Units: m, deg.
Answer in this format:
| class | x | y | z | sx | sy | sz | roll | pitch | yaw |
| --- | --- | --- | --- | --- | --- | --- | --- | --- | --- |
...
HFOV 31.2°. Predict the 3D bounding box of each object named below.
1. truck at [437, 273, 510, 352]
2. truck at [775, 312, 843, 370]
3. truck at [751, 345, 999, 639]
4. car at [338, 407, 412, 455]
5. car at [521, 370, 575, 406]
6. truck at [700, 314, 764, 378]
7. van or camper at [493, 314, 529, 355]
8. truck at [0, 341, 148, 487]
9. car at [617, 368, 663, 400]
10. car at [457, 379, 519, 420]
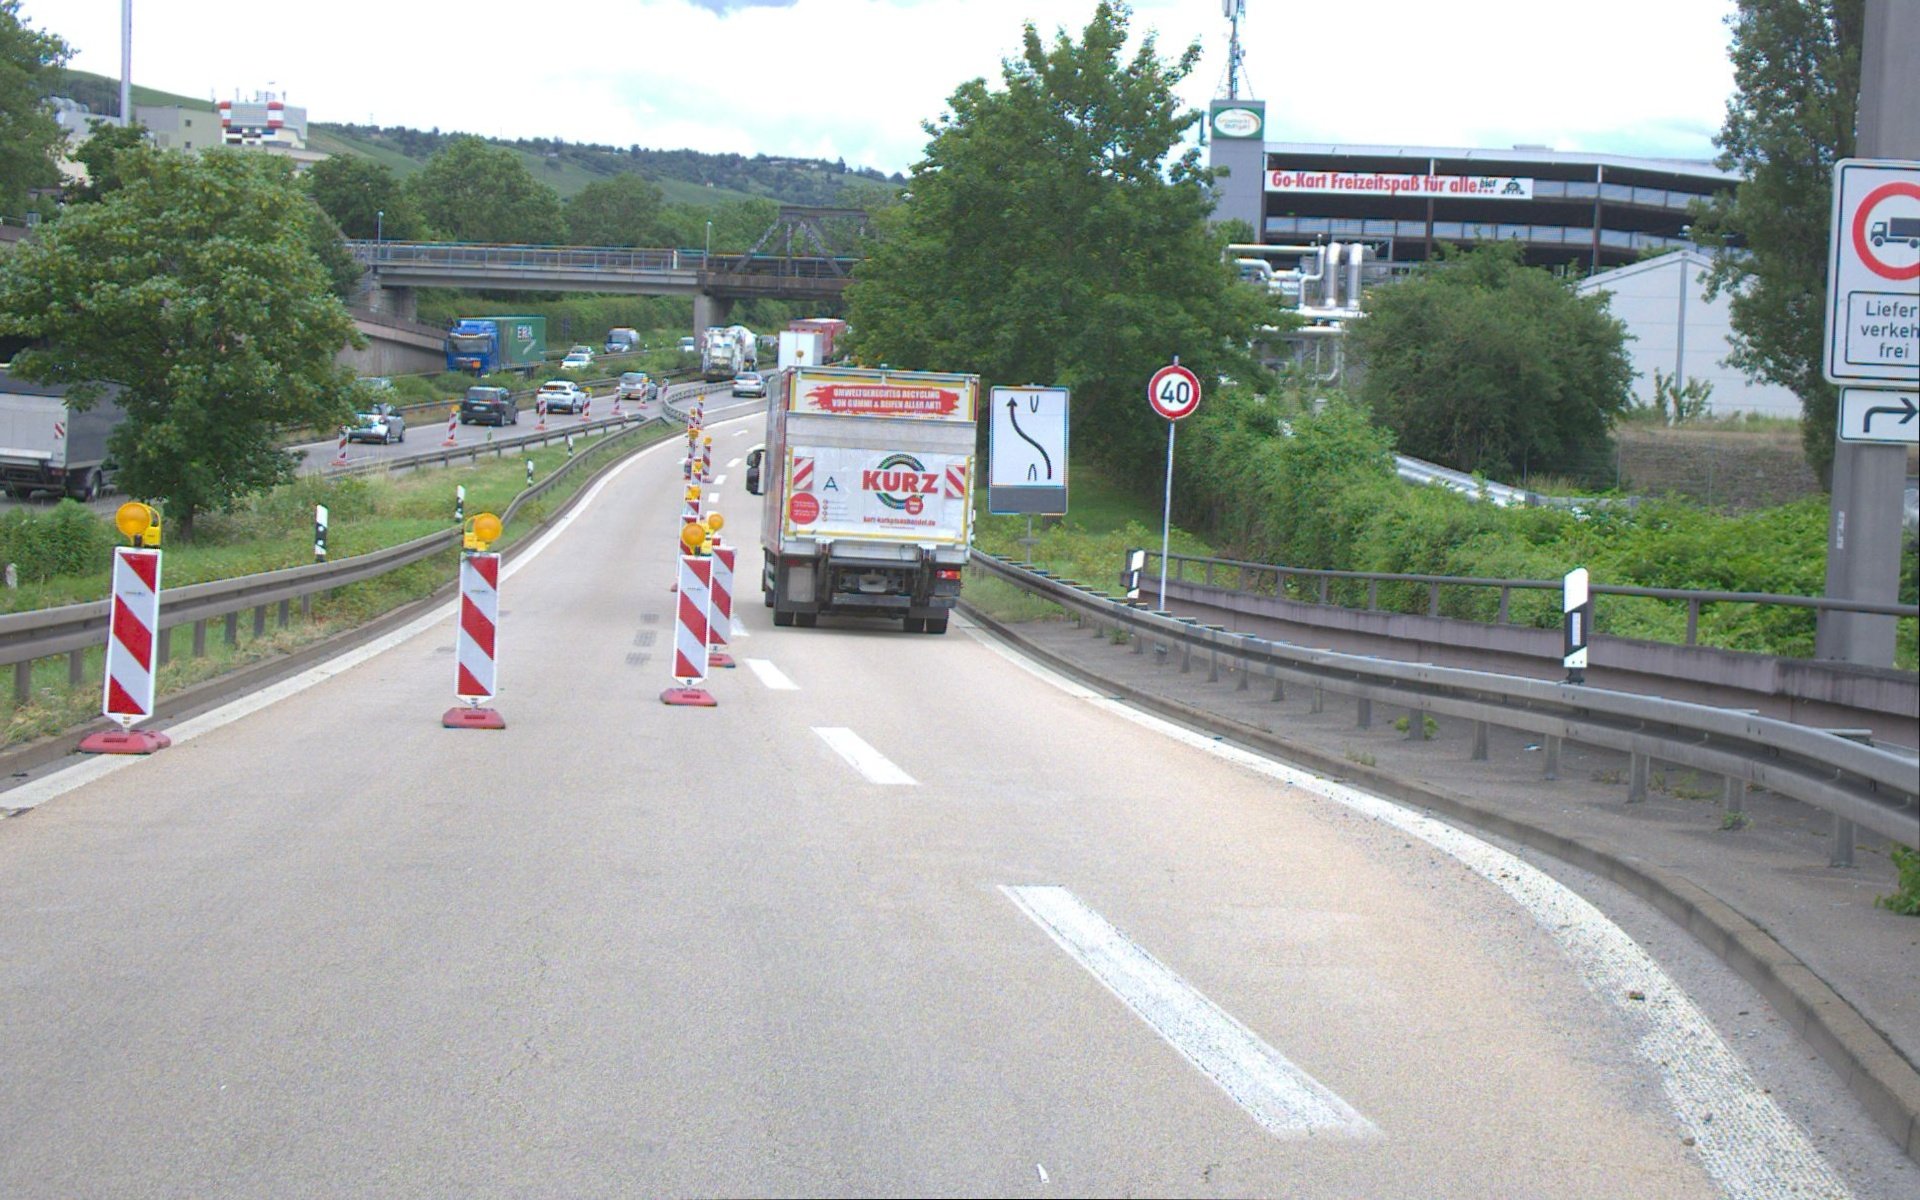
| class | x | y | z | sx | sy | sz | roll | pitch | yaw |
| --- | --- | --- | --- | --- | --- | --- | --- | --- | --- |
| truck | -27.388 | -16.201 | 193.832 | 2.753 | 4.256 | 5.503 | 3 | 4 | 5 |
| truck | -9.883 | -16.989 | 226.036 | 3.287 | 3.587 | 7.665 | 3 | 4 | 5 |
| truck | -1.343 | -1.691 | 48.679 | 3.050 | 3.659 | 7.930 | 2 | 4 | -4 |
| car | -22.057 | -6.405 | 129.776 | 1.993 | 1.612 | 4.001 | 3 | 4 | 1 |
| car | -19.688 | -10.154 | 164.483 | 1.993 | 1.612 | 4.001 | 3 | 4 | 1 |
| truck | -14.555 | -16.211 | 219.581 | 3.286 | 3.838 | 7.666 | 3 | 4 | 1 |
| van or camper | -30.283 | -17.910 | 231.936 | 1.738 | 2.627 | 4.056 | 3 | 4 | 1 |
| truck | -24.555 | -5.124 | 93.189 | 3.051 | 3.643 | 7.397 | 3 | 4 | 2 |
| car | -17.237 | -11.646 | 185.208 | 1.993 | 1.612 | 4.001 | 3 | 4 | 1 |
| car | -20.389 | -8.691 | 148.661 | 1.993 | 1.612 | 4.001 | 3 | 4 | 1 |
